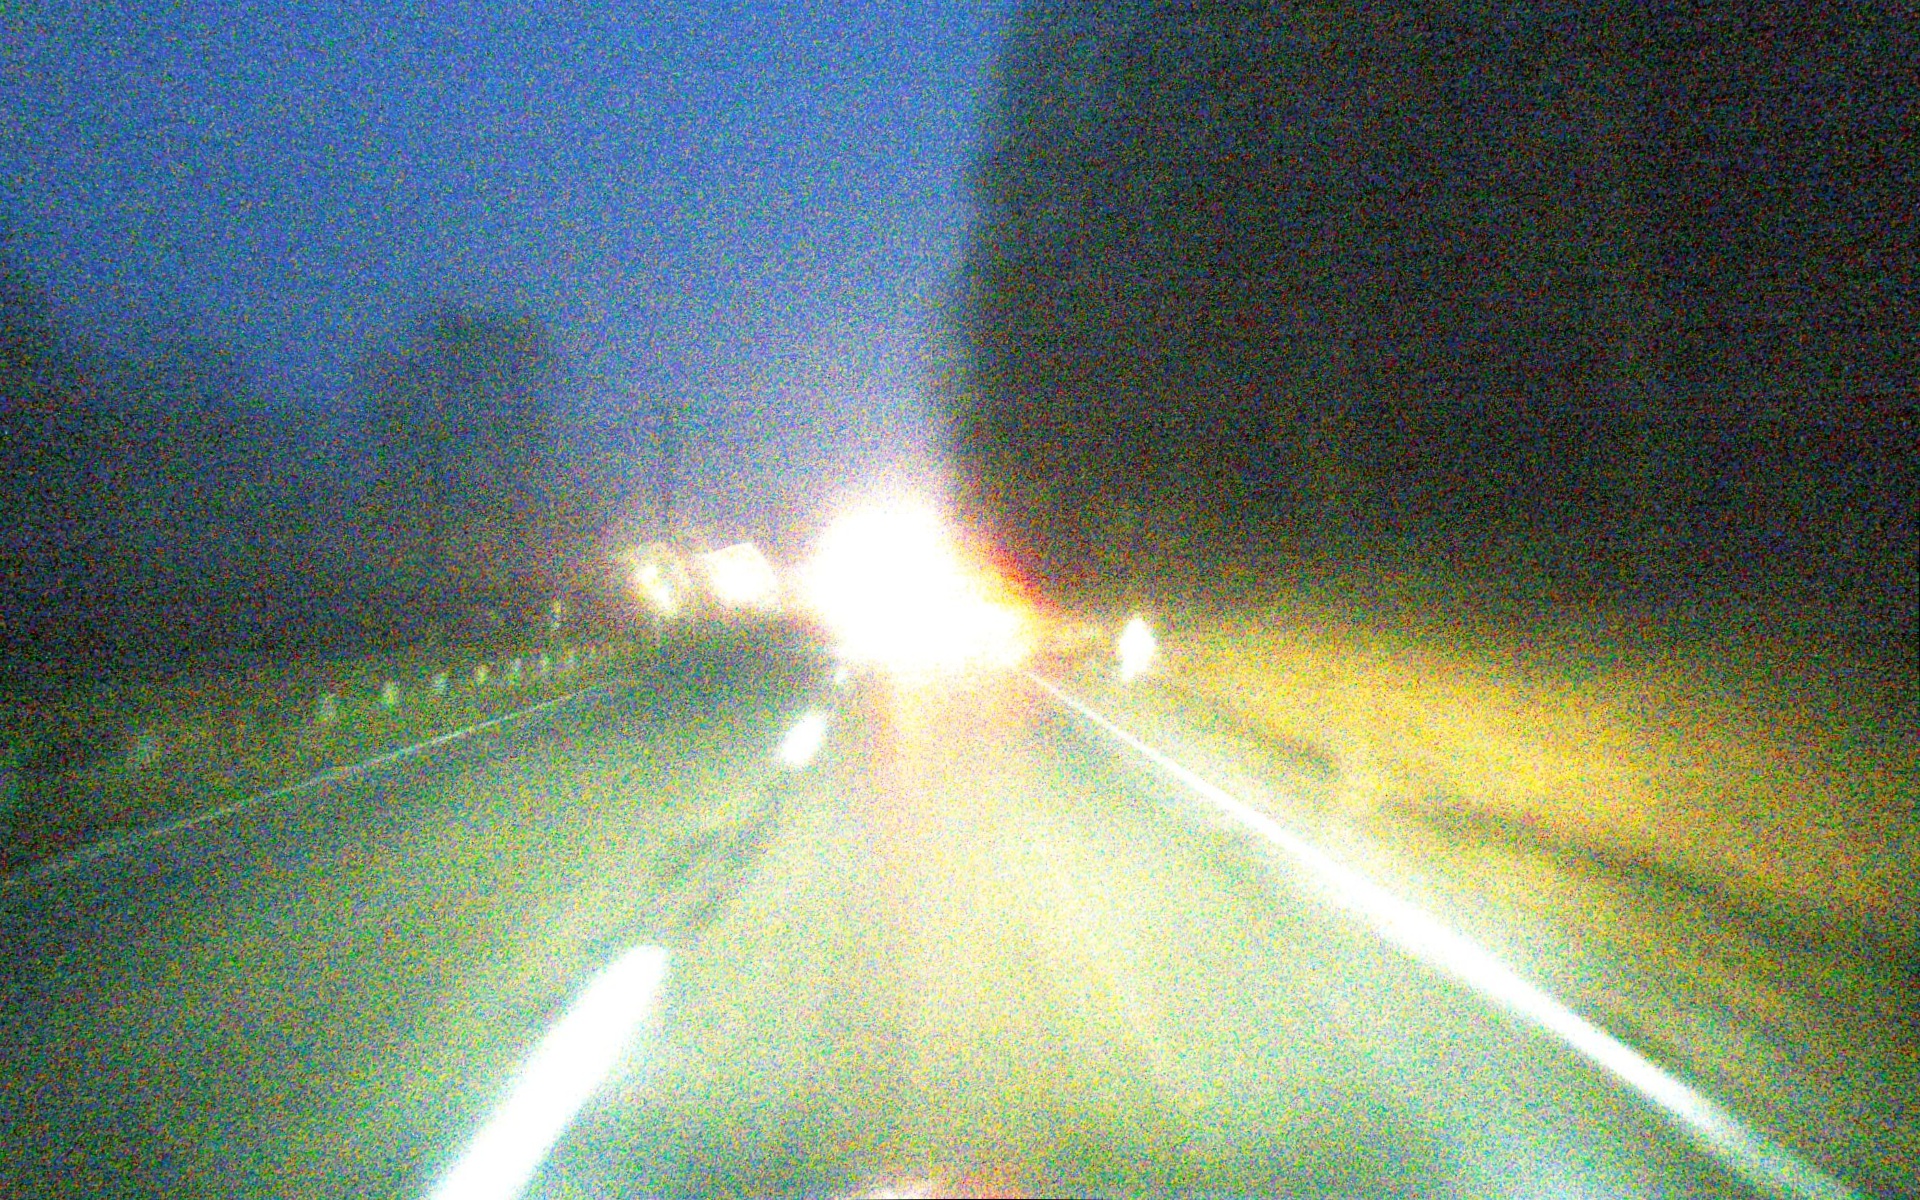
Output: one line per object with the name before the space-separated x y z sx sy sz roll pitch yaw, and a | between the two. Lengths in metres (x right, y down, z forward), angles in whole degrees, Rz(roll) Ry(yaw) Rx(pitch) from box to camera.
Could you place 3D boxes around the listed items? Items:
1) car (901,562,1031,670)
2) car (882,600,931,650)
car | 0.028 0.300 32.996 2.408 1.993 4.909 0 0 -2
car | -2.329 1.068 71.177 1.954 2.049 3.997 -1 -1 -3
